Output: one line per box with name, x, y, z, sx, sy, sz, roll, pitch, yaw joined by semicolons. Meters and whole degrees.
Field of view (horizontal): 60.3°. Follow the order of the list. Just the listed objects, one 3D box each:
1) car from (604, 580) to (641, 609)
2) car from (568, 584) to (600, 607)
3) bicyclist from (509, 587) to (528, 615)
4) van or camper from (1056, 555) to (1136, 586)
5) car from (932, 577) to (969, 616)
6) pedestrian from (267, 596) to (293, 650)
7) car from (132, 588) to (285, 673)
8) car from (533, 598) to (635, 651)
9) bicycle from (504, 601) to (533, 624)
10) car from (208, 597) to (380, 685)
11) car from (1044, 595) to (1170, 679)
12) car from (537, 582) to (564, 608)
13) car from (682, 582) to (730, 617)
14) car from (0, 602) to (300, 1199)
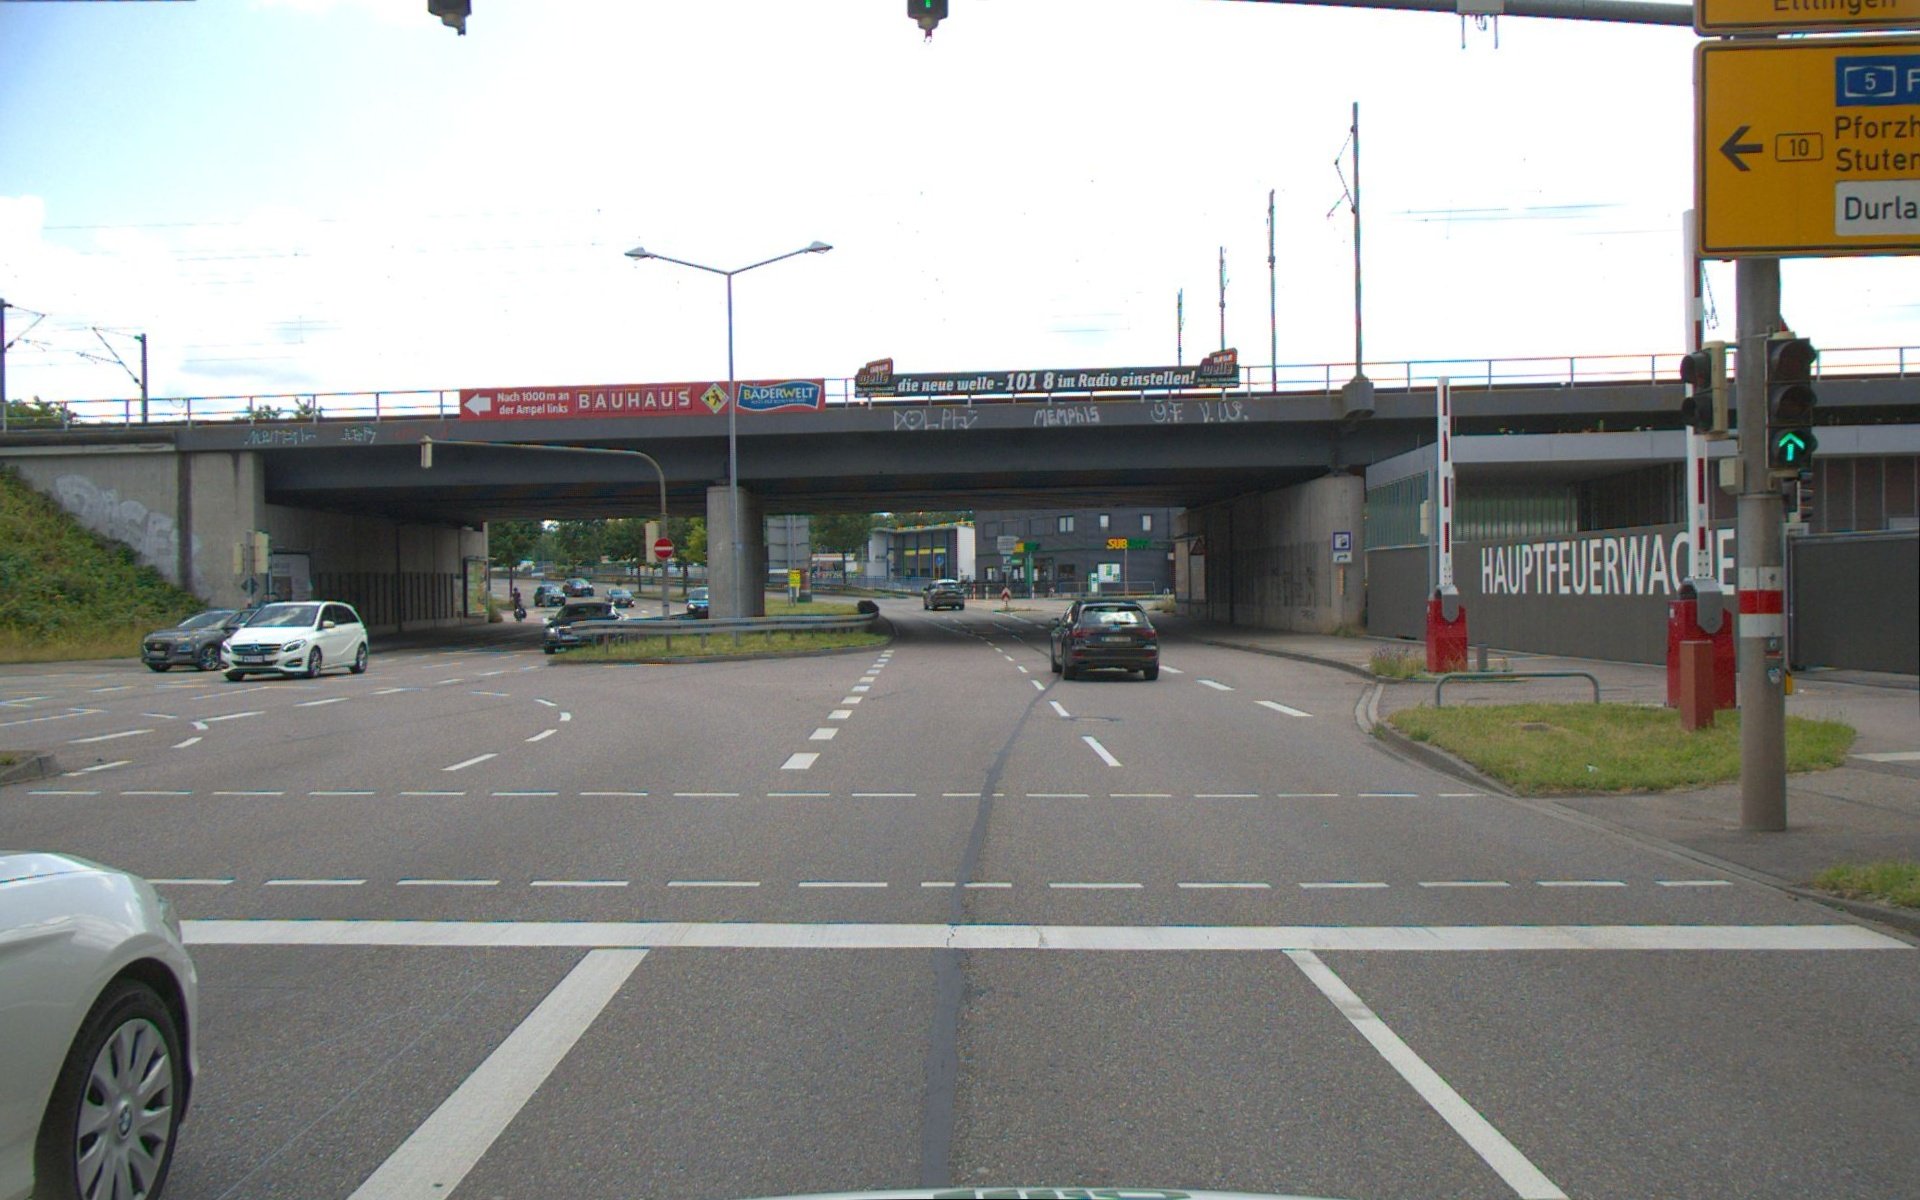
car;-24.942;-0.424;122.449;1.953;2.049;4.335;-1;1;-2
car;-33.781;-0.425;148.750;1.953;2.049;4.335;-1;1;-2
bicyclist;-22.835;0.043;85.576;0.667;1.432;0.925;0;0;7
van or camper;10.018;-2.157;121.444;6.184;2.211;2.097;0;0;-38
car;-0.516;-0.205;92.989;1.953;2.073;4.712;-2;0;0
pedestrian;-21.780;0.741;53.012;0.579;1.710;0.555;-1;0;-3
car;-19.241;0.737;42.542;1.952;2.049;4.001;-2;0;2
car;-11.113;0.694;49.182;1.934;1.413;4.780;-2;0;-1
bicycle;-22.831;0.641;85.585;0.666;1.162;2.285;0;0;7
car;-13.803;0.794;34.552;1.769;1.660;4.392;-2;0;0
car;2.716;0.652;31.569;1.953;1.414;4.575;0;1;-1
car;-32.710;-0.416;132.084;1.959;2.049;4.322;-2;1;-13
car;-13.438;-0.047;87.721;1.954;1.789;4.715;-2;0;-3
car;-2.700;0.740;2.266;1.876;1.439;4.295;2;0;-1
